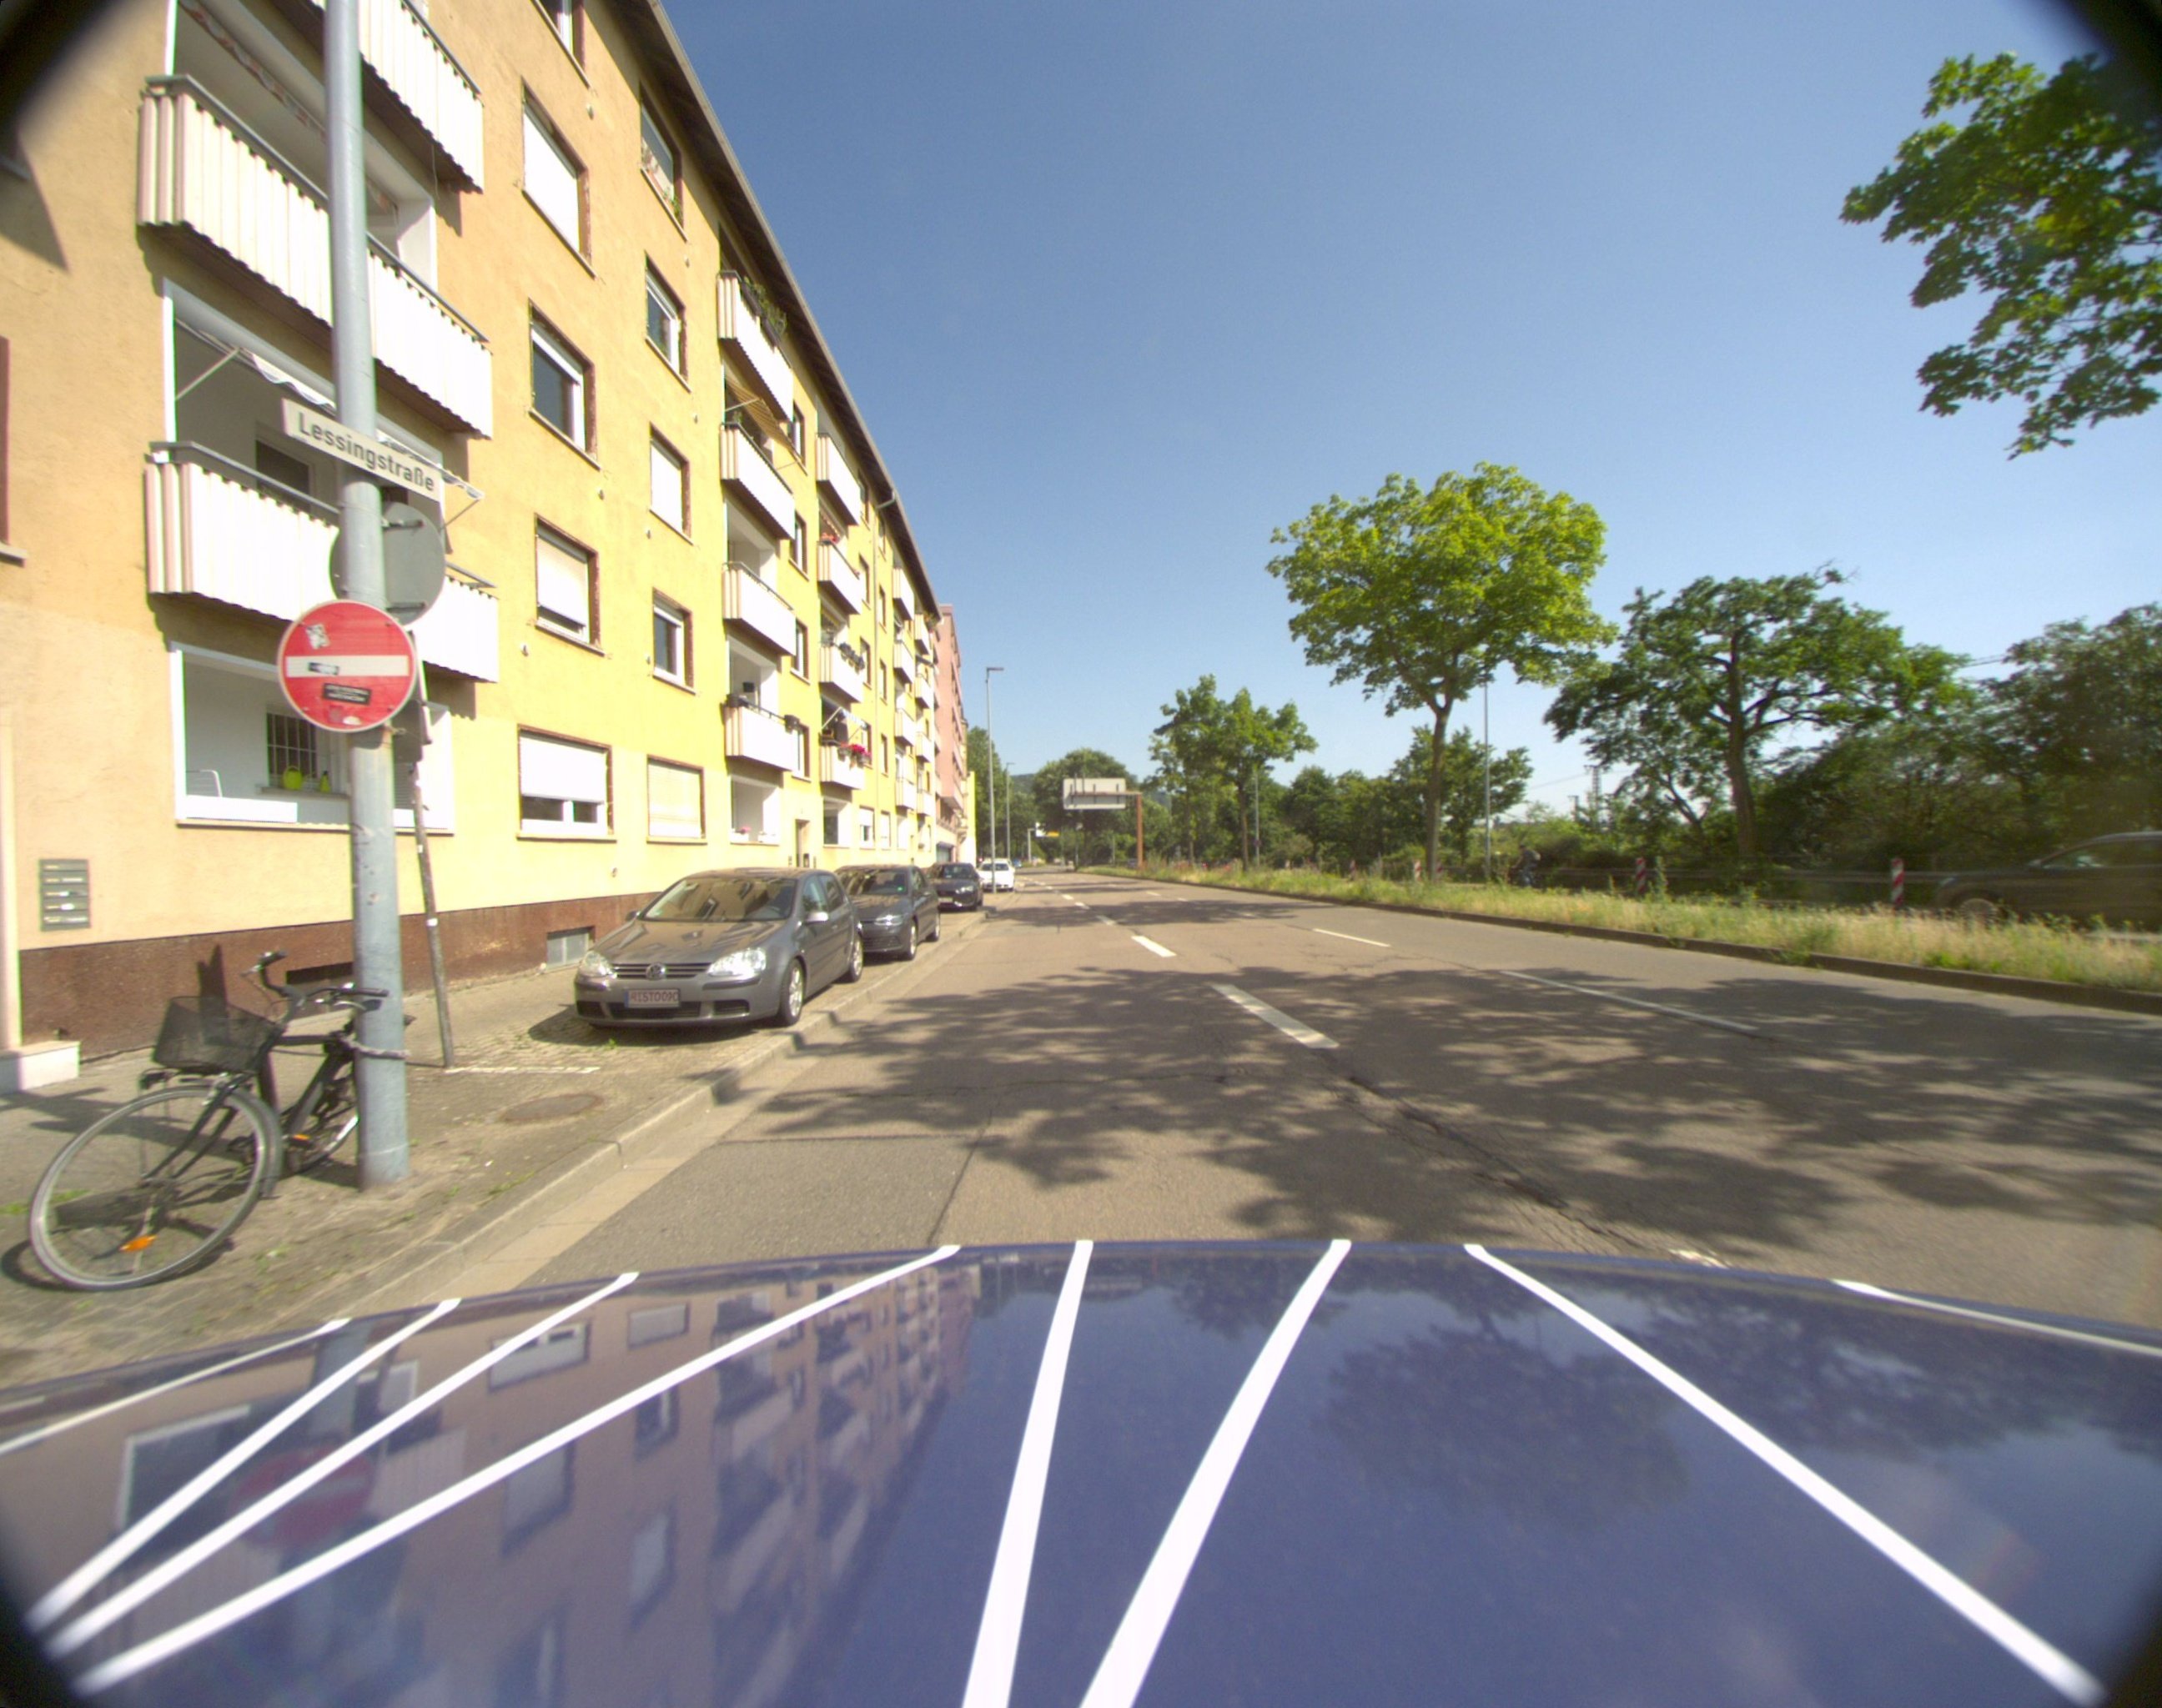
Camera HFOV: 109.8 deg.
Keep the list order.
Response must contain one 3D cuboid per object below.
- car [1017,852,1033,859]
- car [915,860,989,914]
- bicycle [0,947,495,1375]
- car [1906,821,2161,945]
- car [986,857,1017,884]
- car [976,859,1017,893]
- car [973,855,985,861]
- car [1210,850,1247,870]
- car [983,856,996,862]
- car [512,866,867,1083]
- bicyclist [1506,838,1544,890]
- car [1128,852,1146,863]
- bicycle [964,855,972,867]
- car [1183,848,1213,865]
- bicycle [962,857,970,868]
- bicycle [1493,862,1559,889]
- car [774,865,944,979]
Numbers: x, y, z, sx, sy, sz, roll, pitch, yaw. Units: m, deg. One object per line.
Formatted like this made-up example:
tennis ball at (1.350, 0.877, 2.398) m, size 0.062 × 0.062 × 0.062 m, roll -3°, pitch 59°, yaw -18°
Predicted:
car at (-12.512, 0.413, 168.916) m, size 2.003 × 1.519 × 4.688 m, roll 0°, pitch 0°, yaw -25°
car at (-3.901, 0.952, 23.642) m, size 1.805 × 1.430 × 4.588 m, roll -1°, pitch 0°, yaw -4°
bicycle at (-3.477, 1.075, 3.246) m, size 0.704 × 1.117 × 1.744 m, roll -1°, pitch 0°, yaw -6°
car at (16.036, 0.392, 11.419) m, size 1.999 × 1.724 × 4.727 m, roll 0°, pitch 1°, yaw -4°
car at (-4.909, 0.971, 47.380) m, size 1.741 × 1.532 × 4.351 m, roll -1°, pitch 1°, yaw -4°
car at (-4.033, 1.010, 36.841) m, size 1.761 × 1.497 × 4.126 m, roll -1°, pitch 0°, yaw -4°
car at (-25.174, 1.018, 187.767) m, size 1.805 × 1.511 × 3.955 m, roll -1°, pitch 1°, yaw -28°
car at (11.207, 0.451, 58.023) m, size 1.768 × 1.465 × 4.083 m, roll -1°, pitch 0°, yaw -3°
car at (-22.008, 1.236, 182.095) m, size 1.873 × 1.444 × 4.195 m, roll 1°, pitch 0°, yaw -25°
car at (-3.486, 0.923, 7.726) m, size 1.708 × 1.505 × 4.090 m, roll -1°, pitch 0°, yaw -4°
bicyclist at (16.005, 0.356, 27.408) m, size 0.699 × 1.821 × 1.016 m, roll -1°, pitch 1°, yaw -9°
car at (7.439, 0.482, 101.011) m, size 1.650 × 1.408 × 3.968 m, roll -1°, pitch 0°, yaw -7°
bicycle at (-11.475, 0.697, 77.121) m, size 0.657 × 1.139 × 1.625 m, roll 1°, pitch 0°, yaw -10°
car at (10.942, 0.237, 71.257) m, size 1.803 × 1.521 × 3.997 m, roll -1°, pitch 1°, yaw -6°
bicycle at (-10.388, 0.791, 68.849) m, size 0.652 × 0.964 × 1.863 m, roll -1°, pitch 1°, yaw -6°
bicycle at (16.050, 0.747, 27.474) m, size 0.695 × 0.900 × 2.340 m, roll -1°, pitch 0°, yaw -10°
car at (-3.402, 0.956, 12.494) m, size 1.715 × 1.453 × 4.254 m, roll -1°, pitch 0°, yaw -3°
